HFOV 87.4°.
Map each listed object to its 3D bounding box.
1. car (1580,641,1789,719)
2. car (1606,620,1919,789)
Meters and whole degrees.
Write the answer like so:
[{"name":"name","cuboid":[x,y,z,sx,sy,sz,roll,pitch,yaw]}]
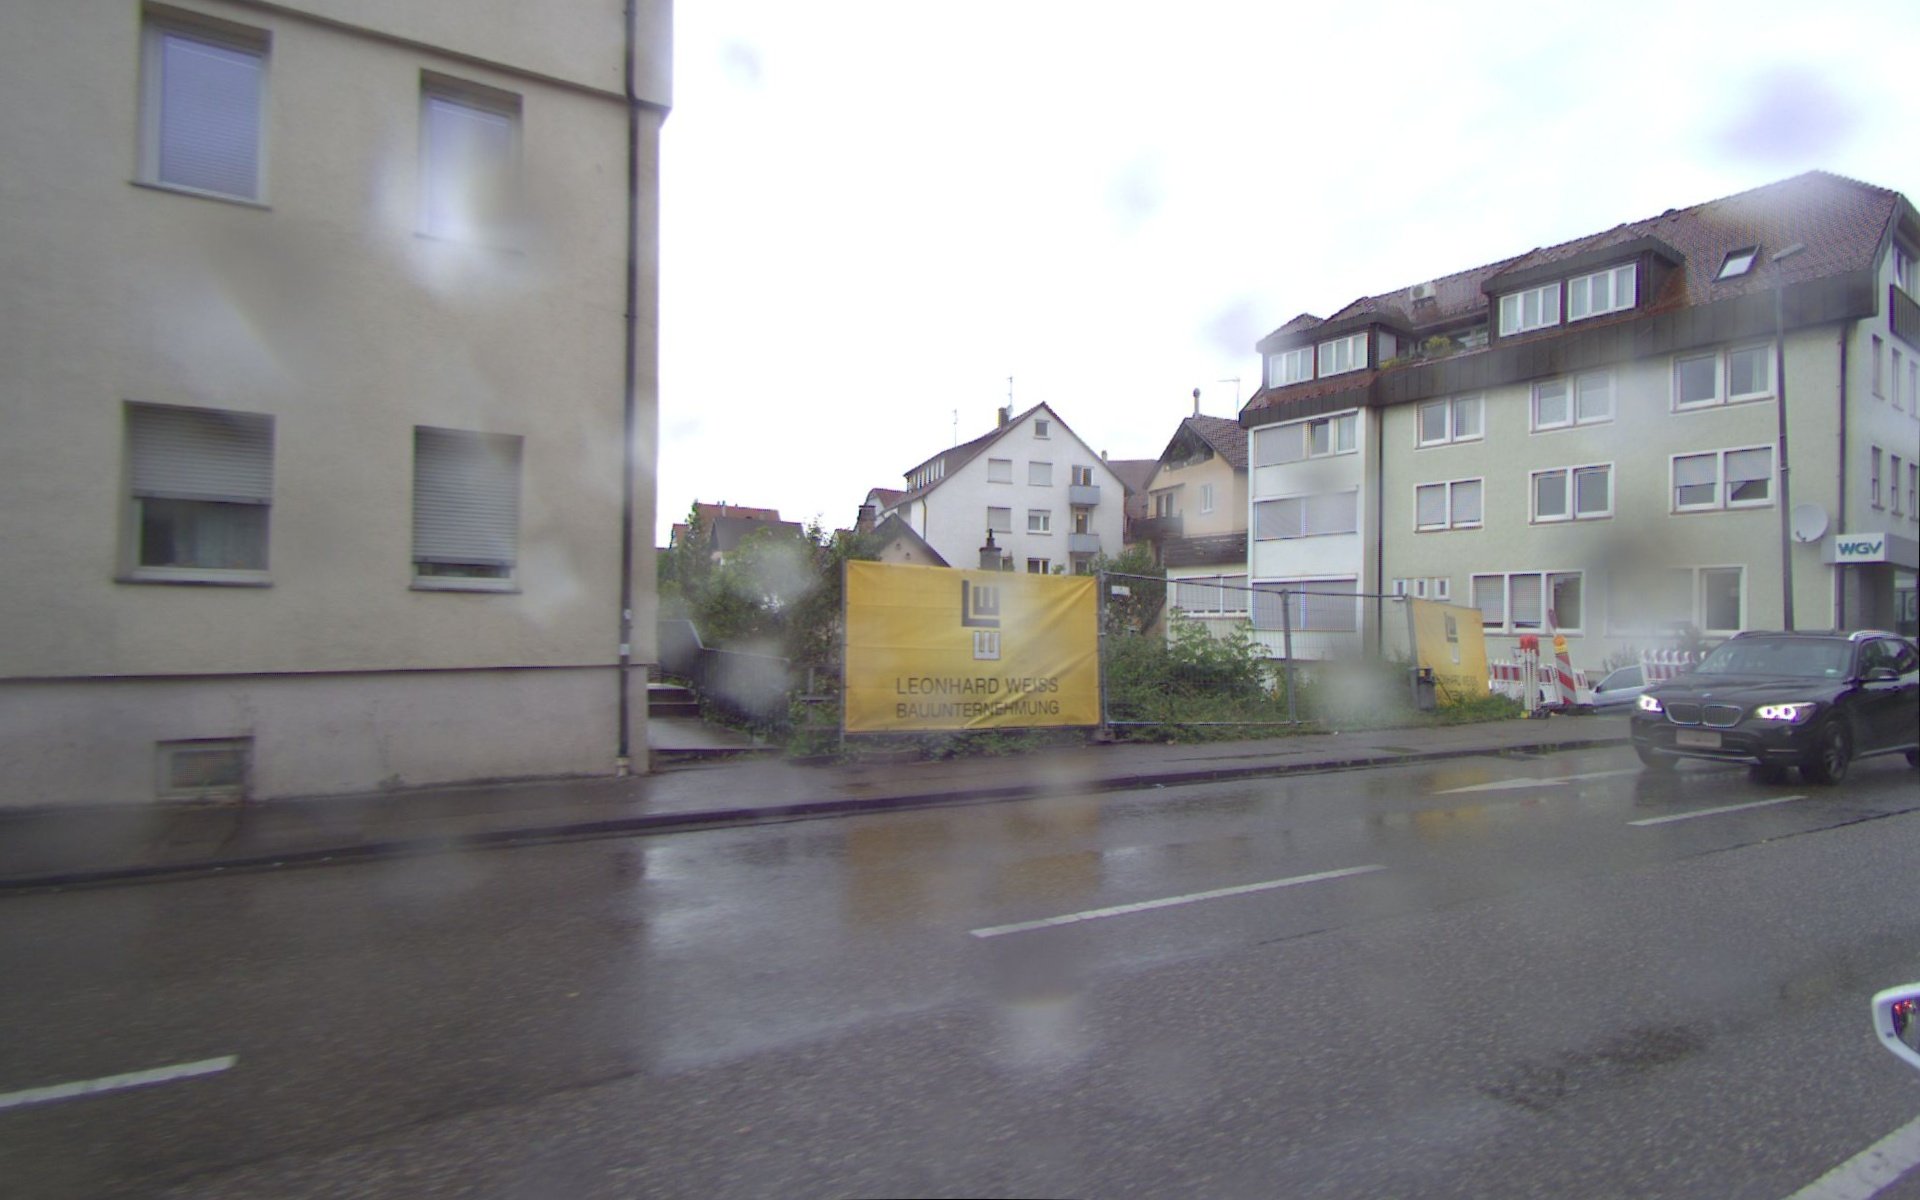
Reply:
[{"name":"car","cuboid":[16.618,1.871,23.171,1.636,1.407,3.476,-1,-8,-38]},{"name":"car","cuboid":[9.377,1.056,11.325,4.225,1.592,1.807,1,-2,-30]}]
